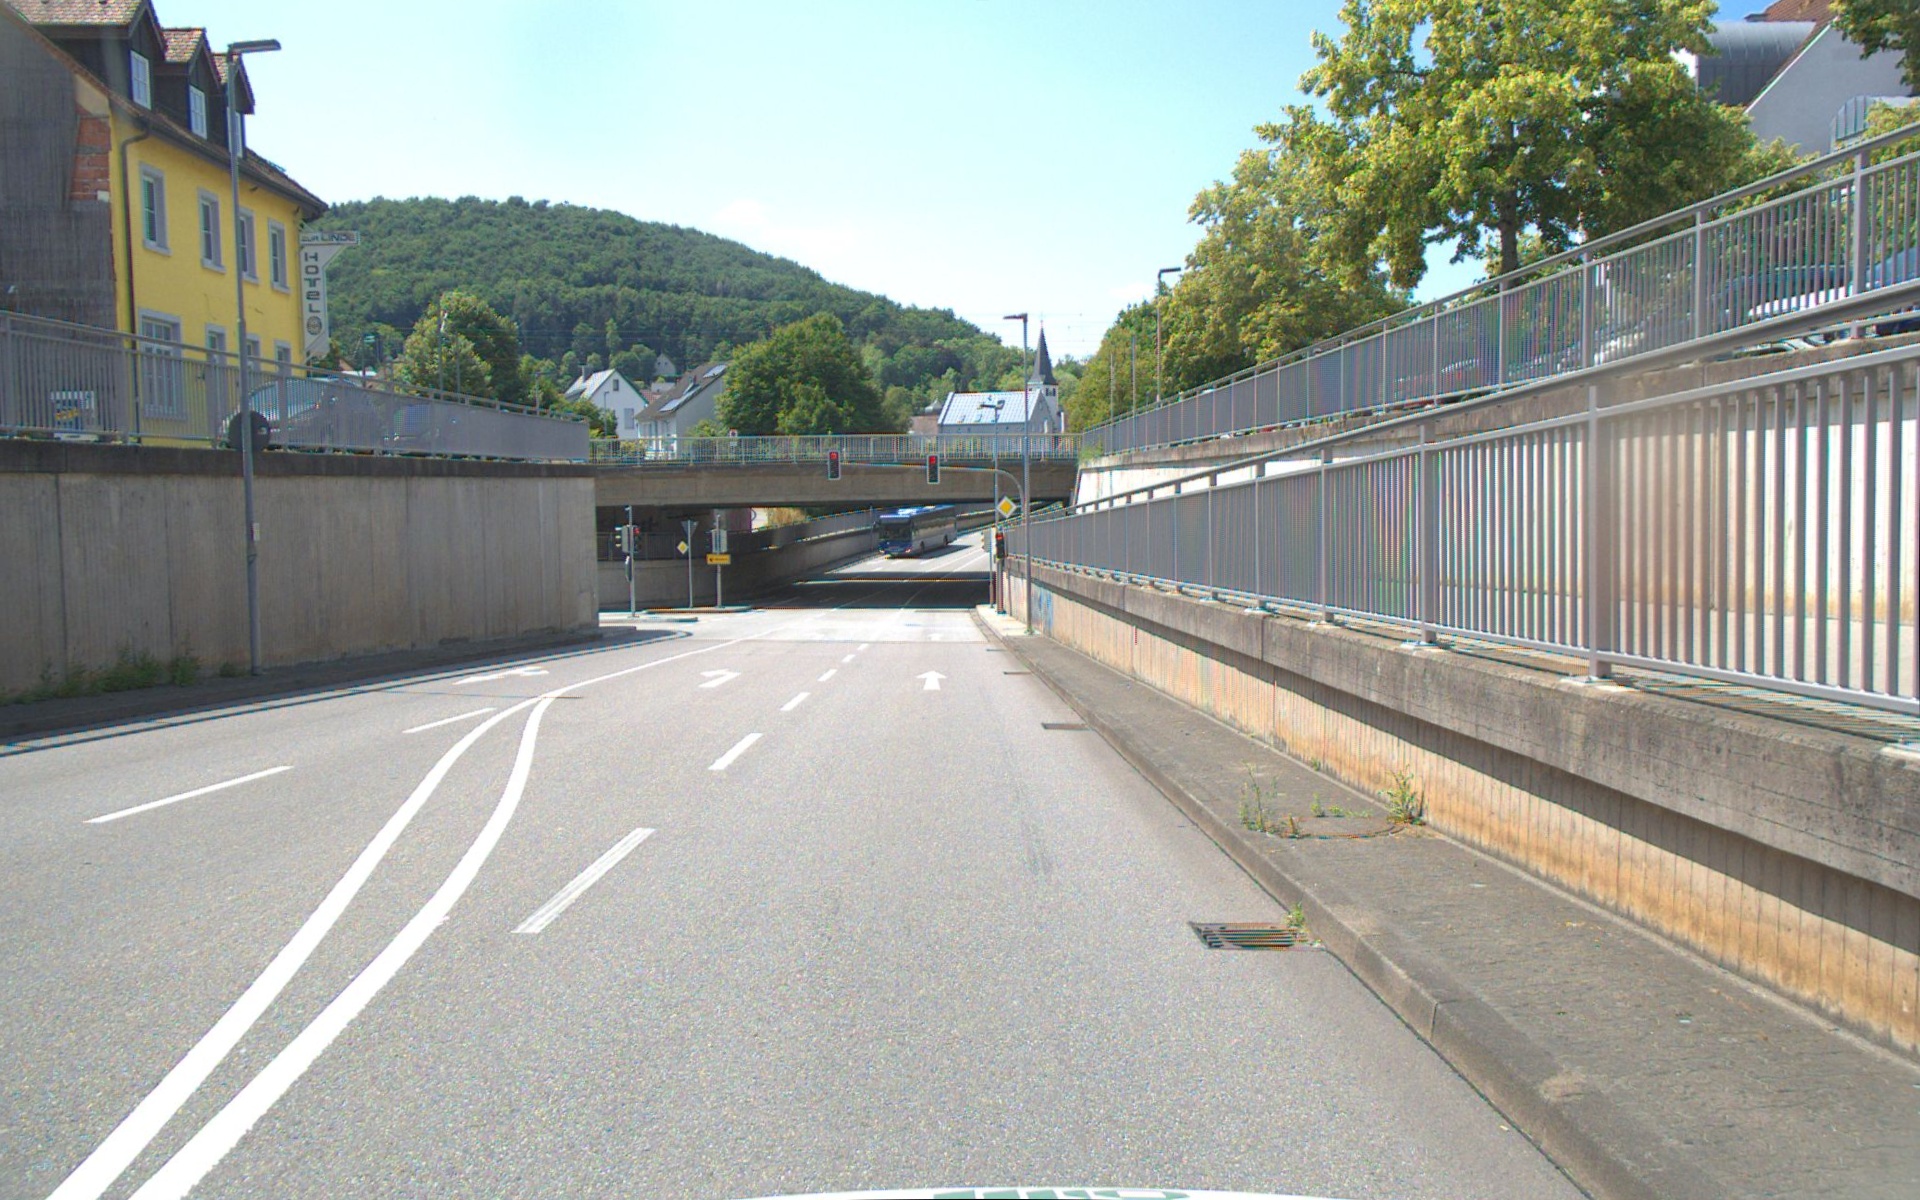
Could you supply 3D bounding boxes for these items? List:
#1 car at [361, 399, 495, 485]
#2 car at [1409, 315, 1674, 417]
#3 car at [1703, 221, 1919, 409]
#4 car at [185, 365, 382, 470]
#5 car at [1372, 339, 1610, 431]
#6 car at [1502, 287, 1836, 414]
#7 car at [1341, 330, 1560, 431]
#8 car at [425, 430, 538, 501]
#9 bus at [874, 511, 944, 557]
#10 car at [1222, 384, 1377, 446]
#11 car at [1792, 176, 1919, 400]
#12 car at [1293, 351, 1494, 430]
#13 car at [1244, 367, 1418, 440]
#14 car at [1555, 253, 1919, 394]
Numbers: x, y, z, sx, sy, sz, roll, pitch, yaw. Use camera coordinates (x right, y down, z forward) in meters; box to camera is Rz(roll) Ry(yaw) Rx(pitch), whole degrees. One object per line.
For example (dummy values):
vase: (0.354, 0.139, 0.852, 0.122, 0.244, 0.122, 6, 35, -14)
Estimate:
car: (-11.829, -3.481, 37.078, 1.786, 1.735, 4.221, 0, 3, -3)
car: (9.802, -3.948, 28.116, 3.904, 1.512, 1.770, 0, 1, 2)
car: (9.673, -2.773, 16.336, 3.904, 1.583, 1.725, 0, 1, 1)
car: (-11.582, -3.095, 28.656, 1.762, 1.551, 4.392, 0, 3, -3)
car: (9.853, -3.985, 30.888, 3.904, 1.512, 1.770, 0, 1, 2)
car: (9.769, -3.437, 23.014, 3.904, 1.512, 1.770, 0, 1, 2)
car: (9.757, -4.361, 33.115, 3.904, 1.801, 1.770, 0, 1, 2)
car: (-12.190, -3.392, 42.364, 1.864, 1.696, 3.999, 0, 3, -3)
bus: (-3.692, -4.971, 122.996, 2.526, 3.227, 12.392, 0, 3, 11)
car: (9.174, -5.014, 44.935, 3.904, 1.512, 1.770, 0, 1, 2)
car: (9.367, -2.566, 13.877, 3.904, 1.583, 1.725, 0, 1, 1)
car: (9.316, -4.506, 35.763, 3.904, 1.512, 1.770, 0, 1, 2)
car: (9.059, -4.797, 40.620, 3.904, 1.594, 1.770, 0, 1, 2)
car: (9.841, -3.487, 21.089, 3.904, 1.512, 1.770, 0, 1, 2)
